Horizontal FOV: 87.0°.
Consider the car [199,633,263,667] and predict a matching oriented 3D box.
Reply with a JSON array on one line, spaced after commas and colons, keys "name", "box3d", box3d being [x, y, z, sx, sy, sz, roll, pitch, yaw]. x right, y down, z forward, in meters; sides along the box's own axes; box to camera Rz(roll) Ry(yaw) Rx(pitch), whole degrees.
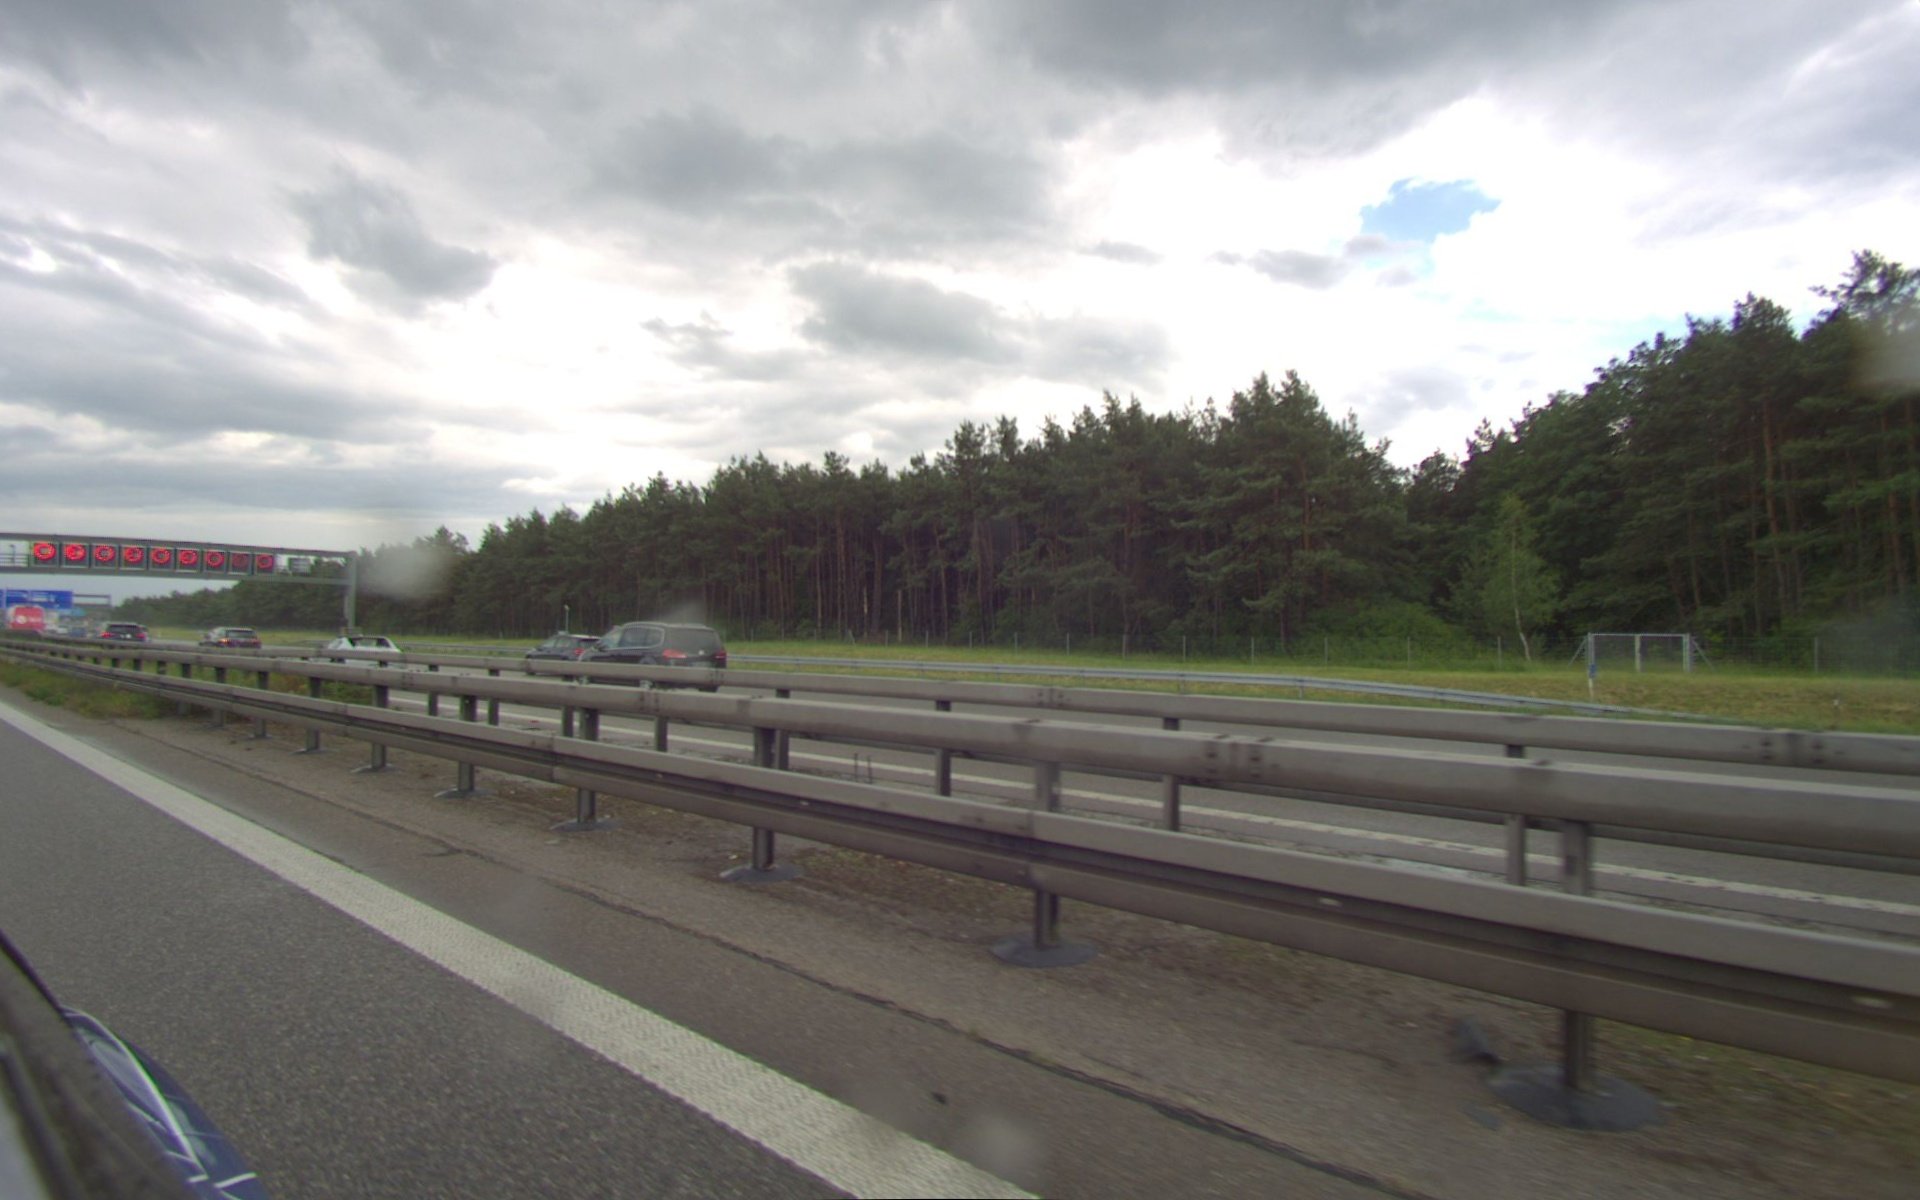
[{"name": "car", "box3d": [-36.117, 2.453, 50.115, 3.846, 1.591, 1.734, -1, -2, 41]}]

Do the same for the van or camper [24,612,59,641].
[{"name": "van or camper", "box3d": [-102.413, 2.969, 112.797, 7.545, 3.136, 2.275, -2, -4, 44]}]

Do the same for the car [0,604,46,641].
[{"name": "car", "box3d": [-70.869, 1.713, 76.300, 6.671, 2.682, 2.110, -1, -2, 41]}]

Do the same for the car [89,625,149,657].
[{"name": "car", "box3d": [-41.916, 2.021, 50.401, 3.721, 1.554, 1.771, -1, -3, 43]}]

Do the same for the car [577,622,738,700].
[{"name": "car", "box3d": [-7.286, 1.415, 24.200, 4.135, 1.696, 1.706, -1, -4, 41]}]

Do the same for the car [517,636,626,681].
[{"name": "car", "box3d": [-13.400, 1.994, 34.808, 4.182, 1.406, 1.706, -1, -4, 41]}]

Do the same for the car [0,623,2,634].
[{"name": "car", "box3d": [-182.881, 5.510, 191.423, 2.257, 2.029, 6.742, -1, 0, -45]}]

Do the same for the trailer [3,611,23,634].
[{"name": "trailer", "box3d": [-187.573, 4.448, 200.397, 14.628, 4.273, 2.074, -1, 0, 44]}]

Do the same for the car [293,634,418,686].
[{"name": "car", "box3d": [-16.160, 1.561, 26.985, 4.060, 1.270, 1.676, -2, -3, 41]}]
